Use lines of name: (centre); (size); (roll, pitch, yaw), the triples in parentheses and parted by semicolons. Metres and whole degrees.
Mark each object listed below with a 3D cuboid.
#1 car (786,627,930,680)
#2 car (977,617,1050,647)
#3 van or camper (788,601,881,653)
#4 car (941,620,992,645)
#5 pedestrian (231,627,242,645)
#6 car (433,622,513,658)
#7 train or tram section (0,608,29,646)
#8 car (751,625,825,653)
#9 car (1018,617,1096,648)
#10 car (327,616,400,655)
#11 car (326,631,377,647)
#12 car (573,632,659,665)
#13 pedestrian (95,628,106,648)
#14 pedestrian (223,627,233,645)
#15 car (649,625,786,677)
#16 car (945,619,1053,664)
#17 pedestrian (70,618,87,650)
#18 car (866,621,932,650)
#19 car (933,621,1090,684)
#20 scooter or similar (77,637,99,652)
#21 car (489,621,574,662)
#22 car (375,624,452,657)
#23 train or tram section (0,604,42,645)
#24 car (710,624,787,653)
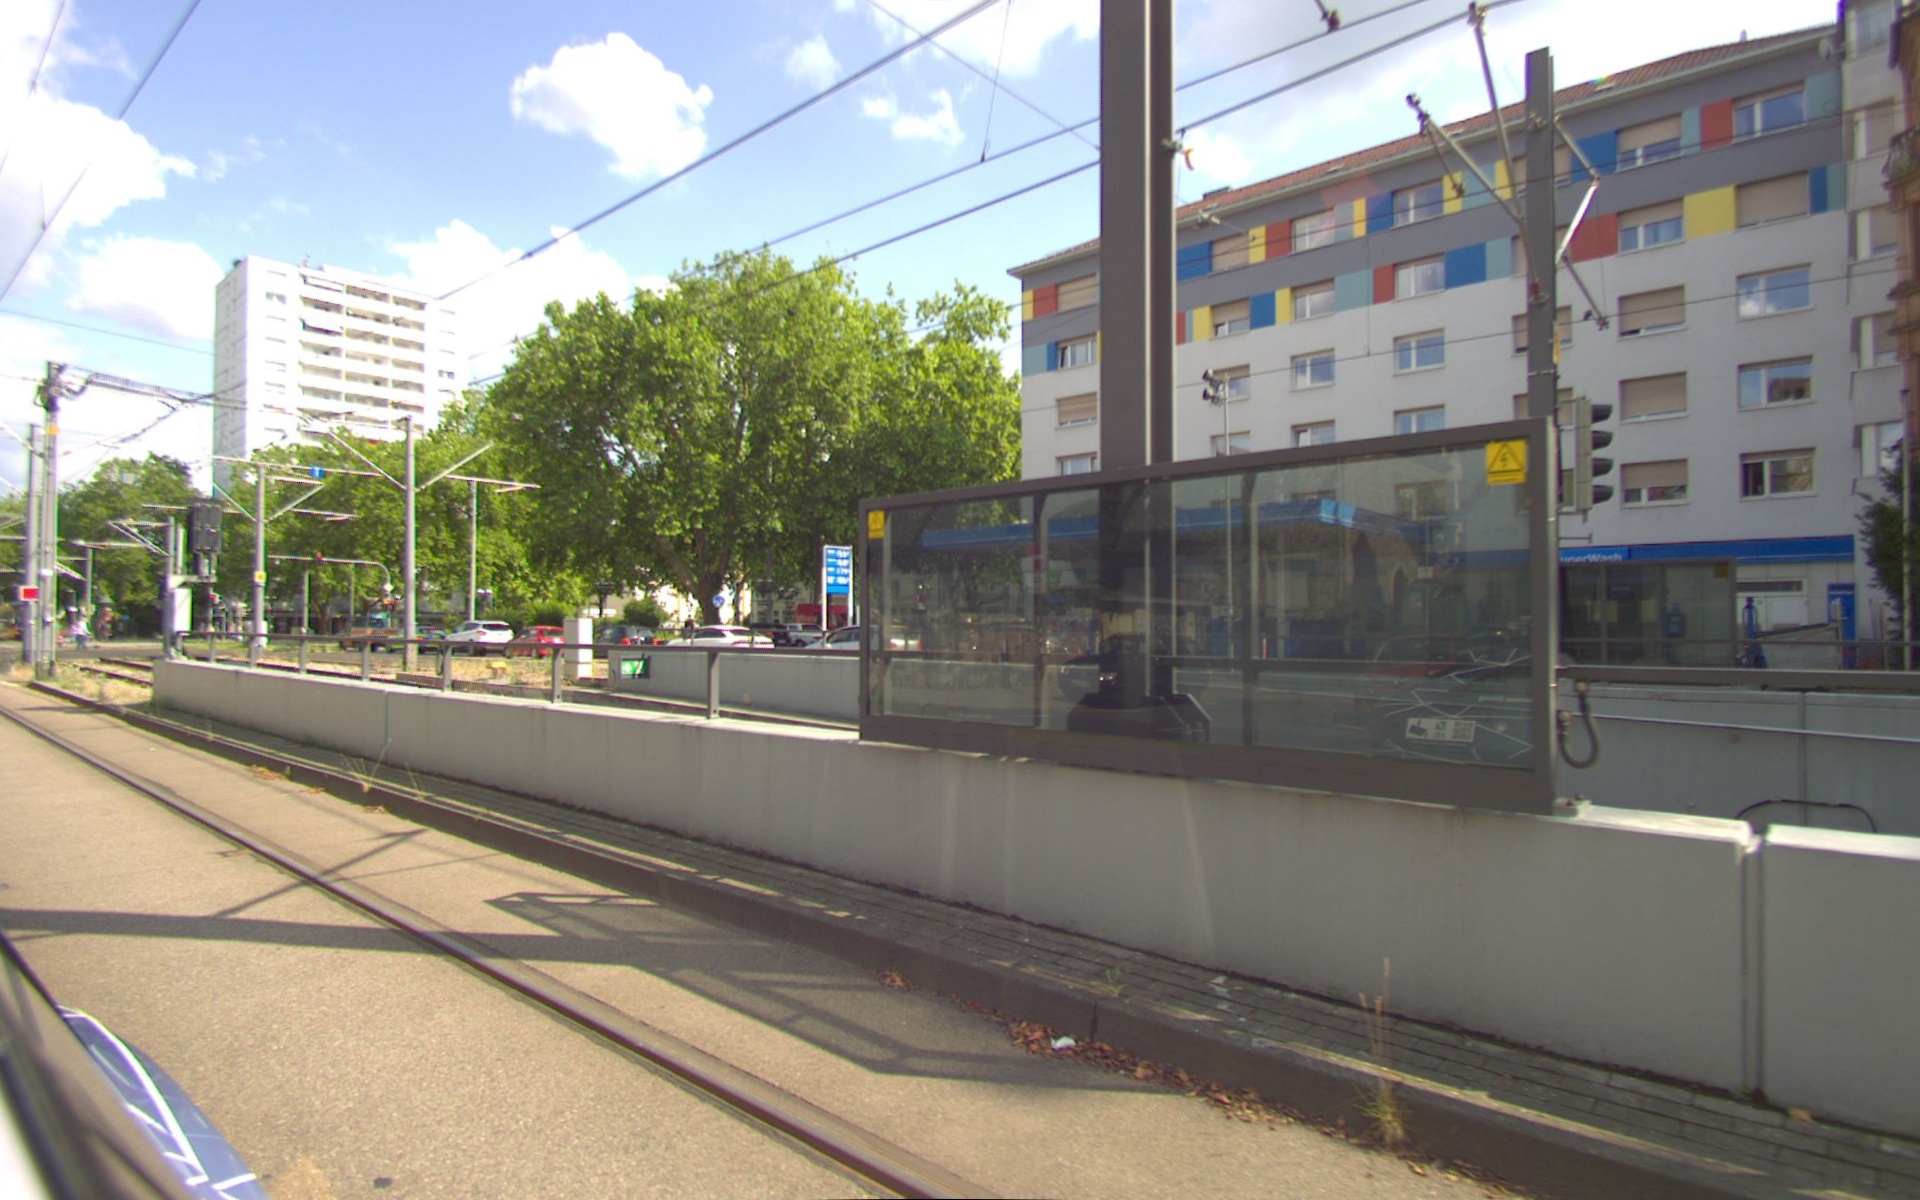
car: (-3.037, 1.531, 29.470); (4.405, 1.427, 1.703); (-2, -3, 43)
car: (3.561, 2.179, 68.337); (4.679, 1.949, 1.973); (-2, -5, 40)
van or camper: (-6.937, 1.540, 55.521); (5.349, 2.662, 2.079); (-2, -5, 43)
car: (0.607, 2.839, 87.111); (3.872, 2.029, 2.258); (4, -5, -41)
pedestrian: (-67.217, 3.359, 93.998); (0.648, 1.716, 0.662); (-2, -2, 44)
car: (-23.106, 1.899, 47.966); (4.677, 1.619, 1.741); (-2, -3, 41)
train or tram section: (-94.748, 2.701, 100.200); (11.180, 3.588, 2.775); (-2, -2, 43)
car: (-9.152, 2.077, 53.706); (3.997, 1.421, 1.734); (-2, -3, 40)
car: (6.904, 2.331, 72.290); (5.244, 2.102, 1.975); (-1, -5, 37)
car: (-33.969, 2.051, 57.585); (5.333, 2.002, 2.053); (-4, -4, 41)
car: (-59.803, 3.851, 99.443); (1.850, 1.501, 3.967); (-1, -2, 24)
car: (-13.165, 1.834, 38.674); (3.633, 1.198, 1.599); (-2, -2, 43)
pedestrian: (-74.633, 3.289, 87.899); (0.648, 1.716, 0.662); (-2, -2, 44)
pedestrian: (-68.623, 3.363, 94.868); (0.648, 1.716, 0.662); (-2, -2, 44)
car: (-8.278, 1.692, 34.267); (5.074, 1.619, 1.927); (-2, -2, 41)
car: (1.488, 1.632, 39.385); (3.872, 1.619, 1.882); (-4, -4, 41)
pedestrian: (-48.746, 1.905, 55.979); (0.556, 1.746, 0.521); (-2, -4, 36)
car: (-3.630, 2.101, 59.852); (3.997, 1.616, 1.510); (-2, -4, 40)
car: (1.205, 1.254, 24.917); (1.649, 1.427, 3.786); (1, -2, -43)
scooter or similar: (-48.505, 2.470, 56.285); (0.553, 0.810, 0.830); (-2, -2, 37)
car: (-18.197, 1.774, 42.901); (4.141, 1.619, 1.694); (-4, -4, 41)
car: (-28.612, 2.120, 52.939); (5.151, 1.665, 1.847); (-2, -4, 42)
train or tram section: (-86.516, 2.288, 92.566); (11.375, 3.588, 2.766); (-2, -2, 43)
car: (-10.805, 1.979, 51.573); (3.997, 1.421, 1.734); (-2, -3, 40)
